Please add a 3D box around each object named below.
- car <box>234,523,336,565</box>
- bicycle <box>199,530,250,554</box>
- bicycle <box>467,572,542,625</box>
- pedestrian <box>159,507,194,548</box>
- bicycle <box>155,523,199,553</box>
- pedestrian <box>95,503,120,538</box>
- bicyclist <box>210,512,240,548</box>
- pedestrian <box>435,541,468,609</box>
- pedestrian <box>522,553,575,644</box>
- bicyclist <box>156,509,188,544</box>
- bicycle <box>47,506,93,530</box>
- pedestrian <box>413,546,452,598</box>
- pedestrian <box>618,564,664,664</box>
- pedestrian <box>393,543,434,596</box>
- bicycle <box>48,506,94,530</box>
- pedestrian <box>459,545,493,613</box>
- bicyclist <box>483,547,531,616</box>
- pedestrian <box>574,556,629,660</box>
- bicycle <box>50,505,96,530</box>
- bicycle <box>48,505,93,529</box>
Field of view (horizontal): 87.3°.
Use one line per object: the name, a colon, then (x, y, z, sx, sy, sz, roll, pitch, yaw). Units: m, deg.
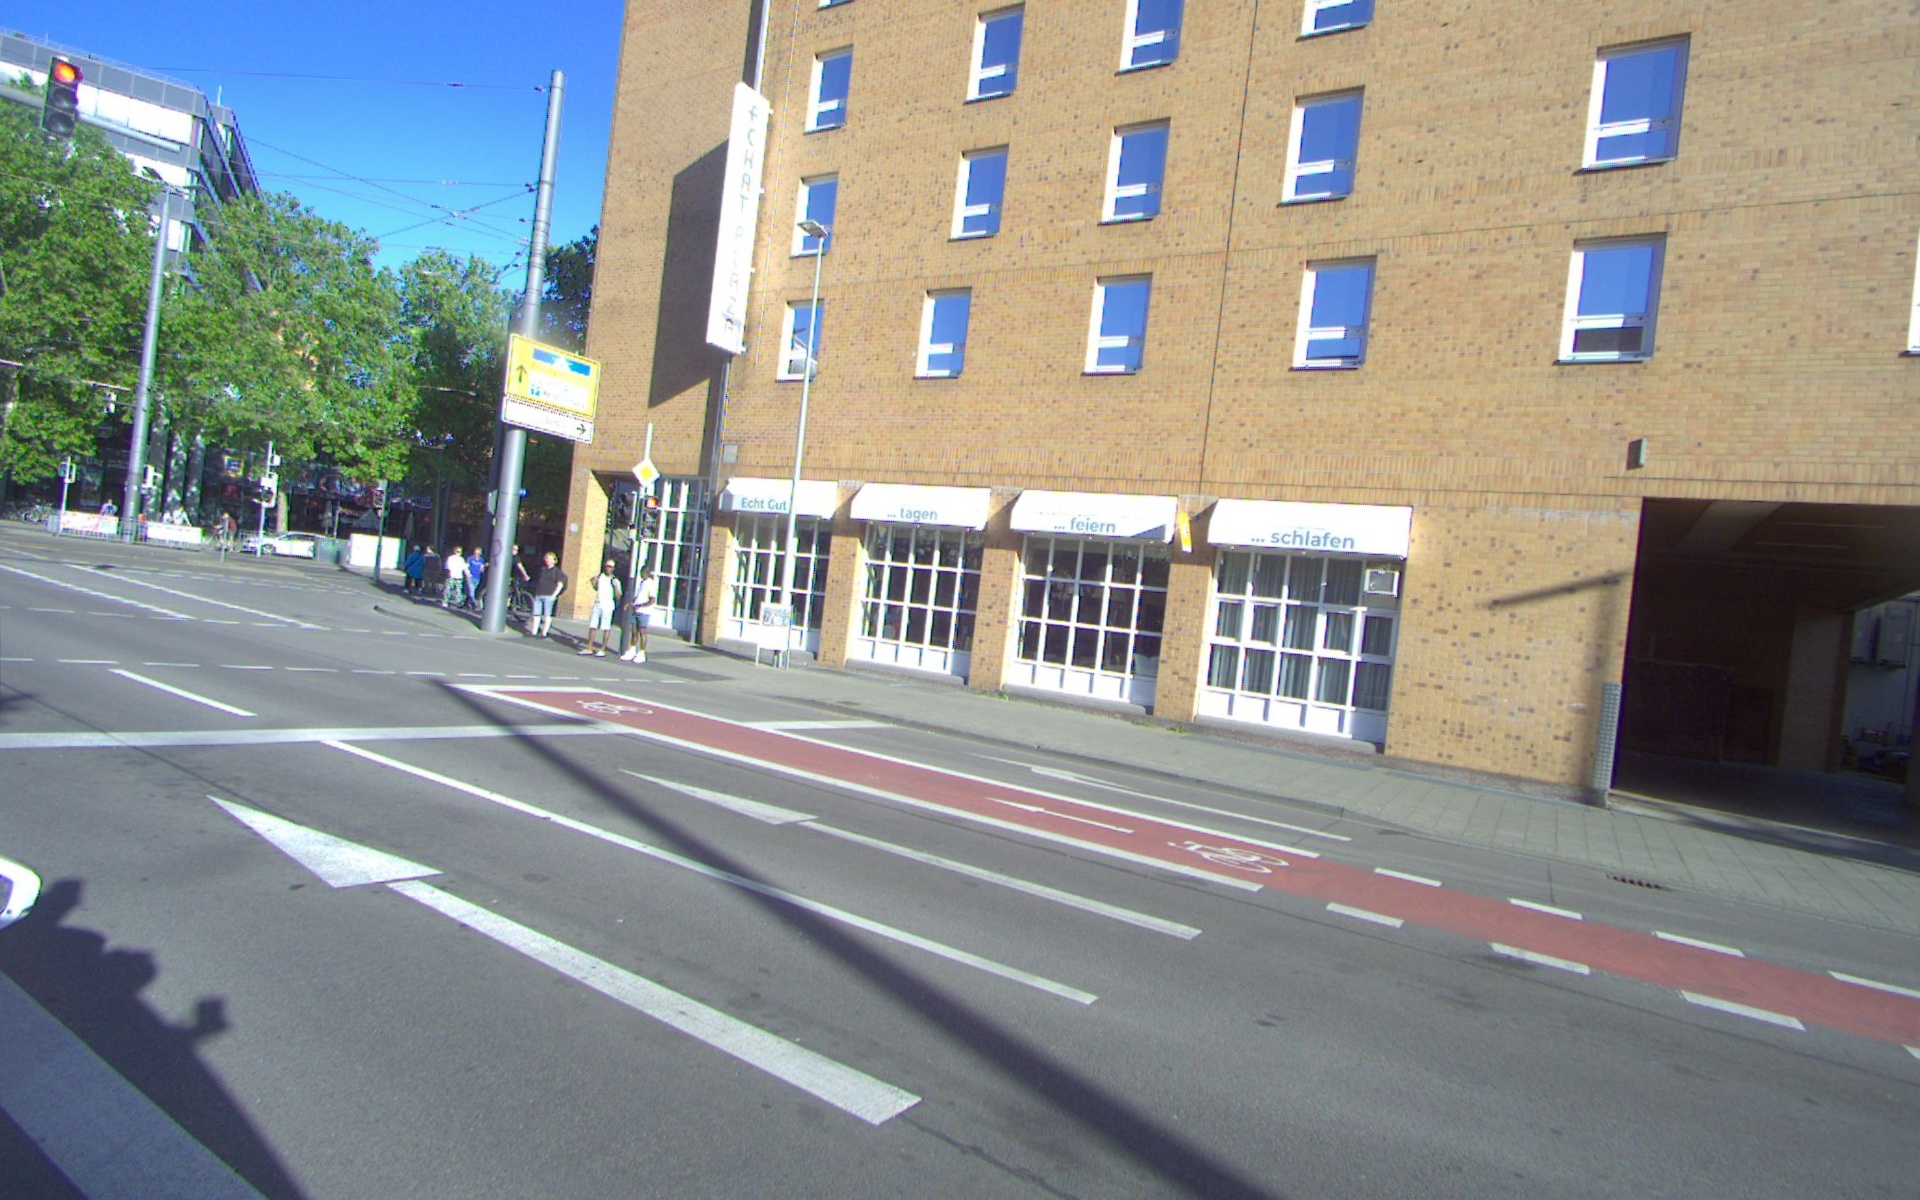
car: (-35.904, -2.959, 53.597, 1.969, 1.503, 3.990, 6, -2, 36)
bicycle: (-36.305, -2.845, 49.661, 0.642, 0.921, 1.854, 7, -1, 36)
bicycle: (-10.736, -0.043, 23.709, 1.849, 1.065, 0.600, 7, 5, 29)
pedestrian: (-33.459, -3.106, 42.974, 0.824, 1.612, 0.771, 6, -1, 31)
bicycle: (-33.364, -2.634, 42.862, 1.891, 1.064, 0.791, 6, -2, 32)
pedestrian: (-49.266, -4.597, 58.147, 0.845, 1.873, 0.799, 10, -2, -44)
bicyclist: (-36.243, -3.452, 49.627, 0.627, 1.635, 0.926, 7, 0, 35)
pedestrian: (-13.556, -0.660, 26.799, 0.557, 1.723, 0.654, 8, -1, -30)
pedestrian: (-8.522, -0.031, 20.870, 0.683, 1.789, 0.573, 8, 0, -9)
bicyclist: (-47.630, -4.437, 60.800, 0.823, 1.955, 1.225, 7, 0, 41)
bicycle: (-46.661, -4.286, 52.757, 1.700, 0.998, 0.386, 7, 0, -45)
pedestrian: (-17.139, -0.909, 32.680, 0.729, 1.557, 0.652, 7, -1, 24)
pedestrian: (-5.938, 0.267, 18.734, 0.570, 1.797, 0.404, 7, 2, 35)
pedestrian: (-17.286, -0.962, 31.827, 0.729, 1.557, 0.677, 7, -1, 24)
bicycle: (-46.019, -4.247, 52.092, 1.700, 0.998, 0.386, 7, 0, -45)
pedestrian: (-13.113, -0.570, 27.259, 0.597, 1.747, 0.598, 8, -1, -31)
bicyclist: (-10.663, -0.442, 23.681, 0.835, 1.536, 0.579, 8, 5, 27)
pedestrian: (-6.739, 0.147, 18.923, 0.719, 1.857, 0.497, 5, 2, -3)
bicycle: (-45.399, -4.220, 51.510, 1.700, 0.998, 0.386, 7, 0, -45)
bicycle: (-46.969, -4.387, 53.105, 1.700, 0.998, 0.386, 7, 0, -45)
